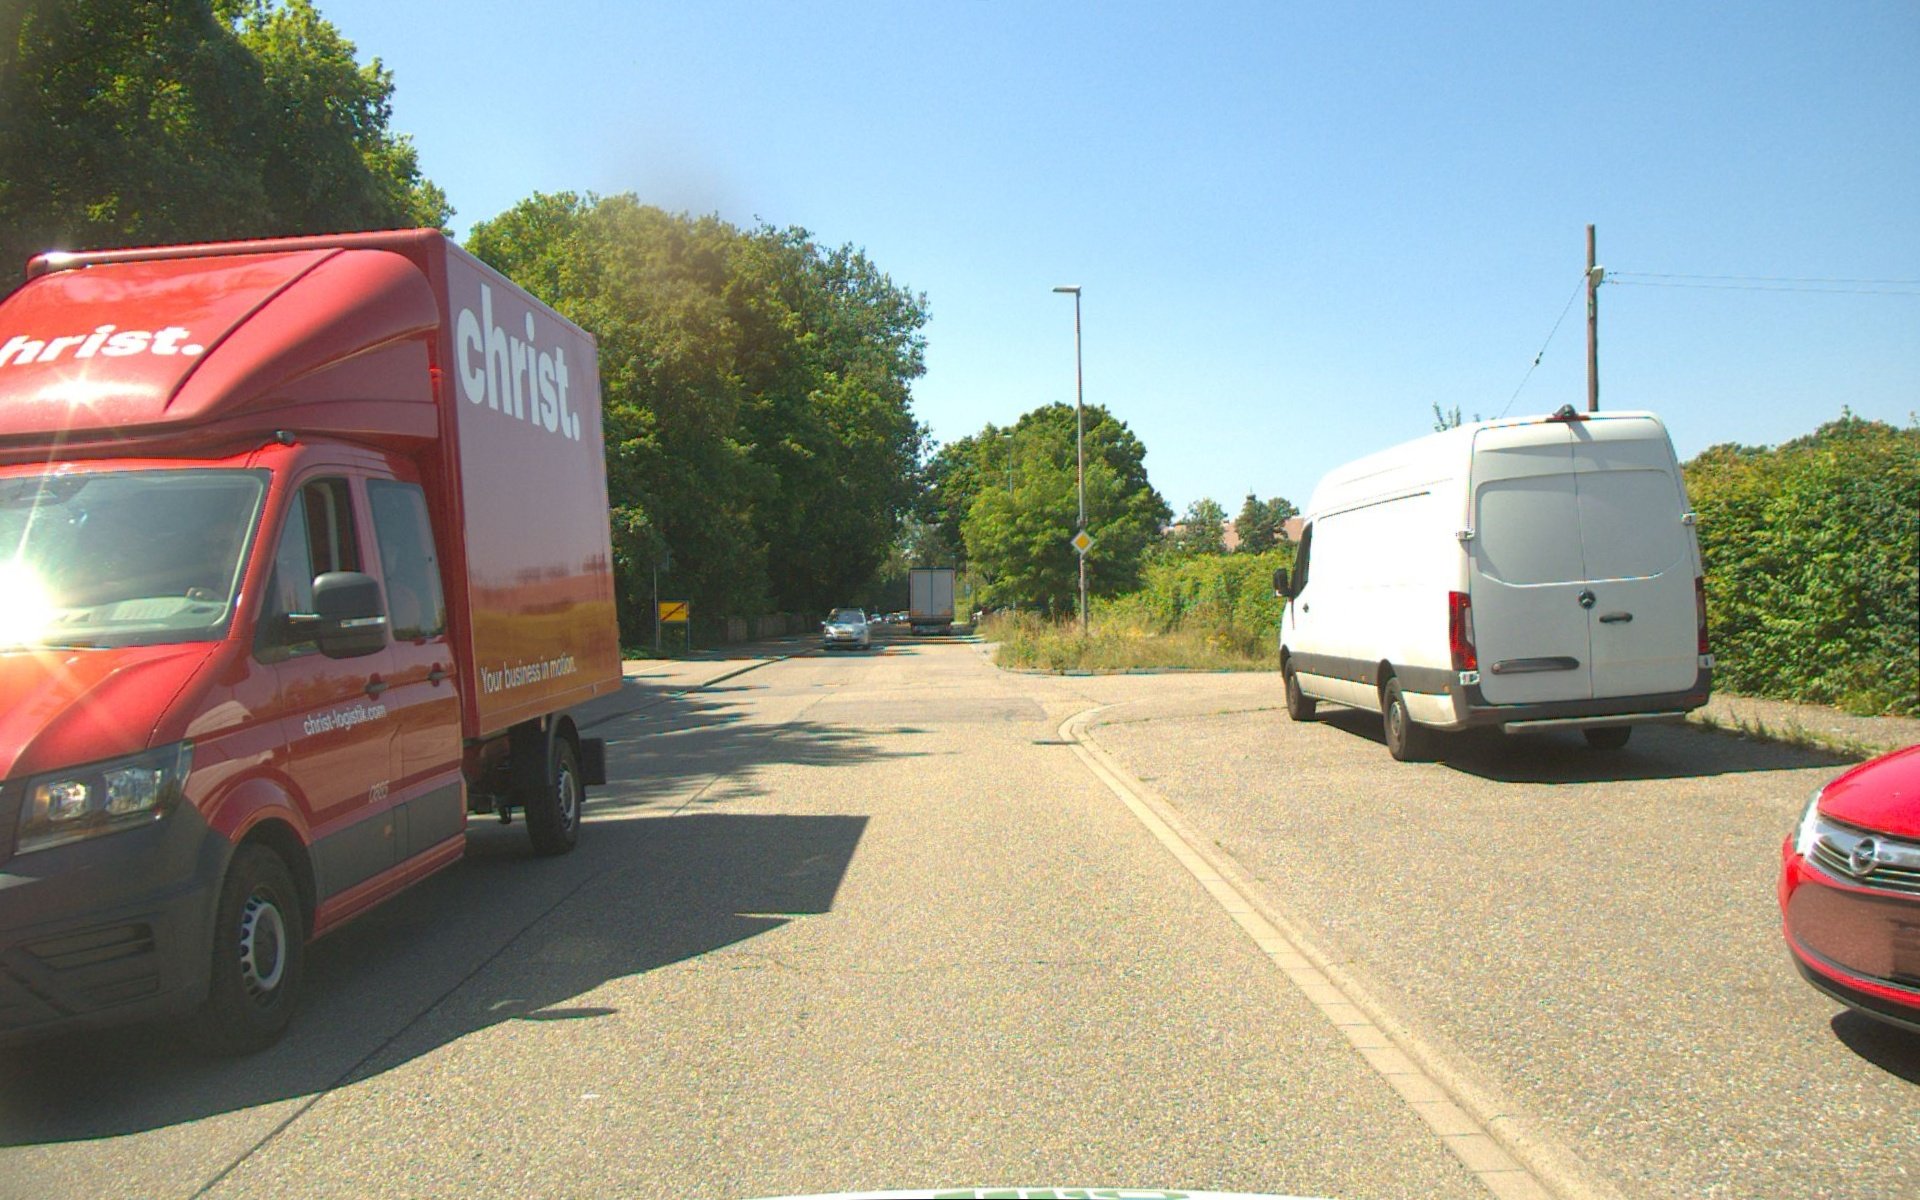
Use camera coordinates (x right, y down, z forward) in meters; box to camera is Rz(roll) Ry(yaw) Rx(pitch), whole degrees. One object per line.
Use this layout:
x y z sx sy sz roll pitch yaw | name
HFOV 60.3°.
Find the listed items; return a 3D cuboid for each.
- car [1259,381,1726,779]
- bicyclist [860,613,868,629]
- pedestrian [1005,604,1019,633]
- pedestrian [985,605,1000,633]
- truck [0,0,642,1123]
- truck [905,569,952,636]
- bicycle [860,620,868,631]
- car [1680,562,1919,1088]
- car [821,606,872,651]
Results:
4.510 -0.146 15.584 1.914 2.781 7.166 -3 0 0 | car
-10.603 2.331 182.411 0.815 1.746 0.957 -1 -1 -1 | bicyclist
3.242 1.151 103.180 0.724 1.769 0.885 -1 -1 -3 | pedestrian
2.014 1.185 102.156 0.846 1.707 0.885 -1 -1 -3 | pedestrian
-3.541 -0.172 8.392 2.275 3.500 7.160 -4 0 0 | truck
-1.836 0.201 99.742 2.678 3.811 13.242 0 0 -1 | truck
-10.603 2.756 182.332 0.703 1.179 2.230 -1 0 -1 | bicycle
4.617 0.523 5.075 3.975 1.459 1.834 -3 0 -5 | car
-4.325 1.070 63.581 1.755 1.600 4.270 -1 0 -2 | car
